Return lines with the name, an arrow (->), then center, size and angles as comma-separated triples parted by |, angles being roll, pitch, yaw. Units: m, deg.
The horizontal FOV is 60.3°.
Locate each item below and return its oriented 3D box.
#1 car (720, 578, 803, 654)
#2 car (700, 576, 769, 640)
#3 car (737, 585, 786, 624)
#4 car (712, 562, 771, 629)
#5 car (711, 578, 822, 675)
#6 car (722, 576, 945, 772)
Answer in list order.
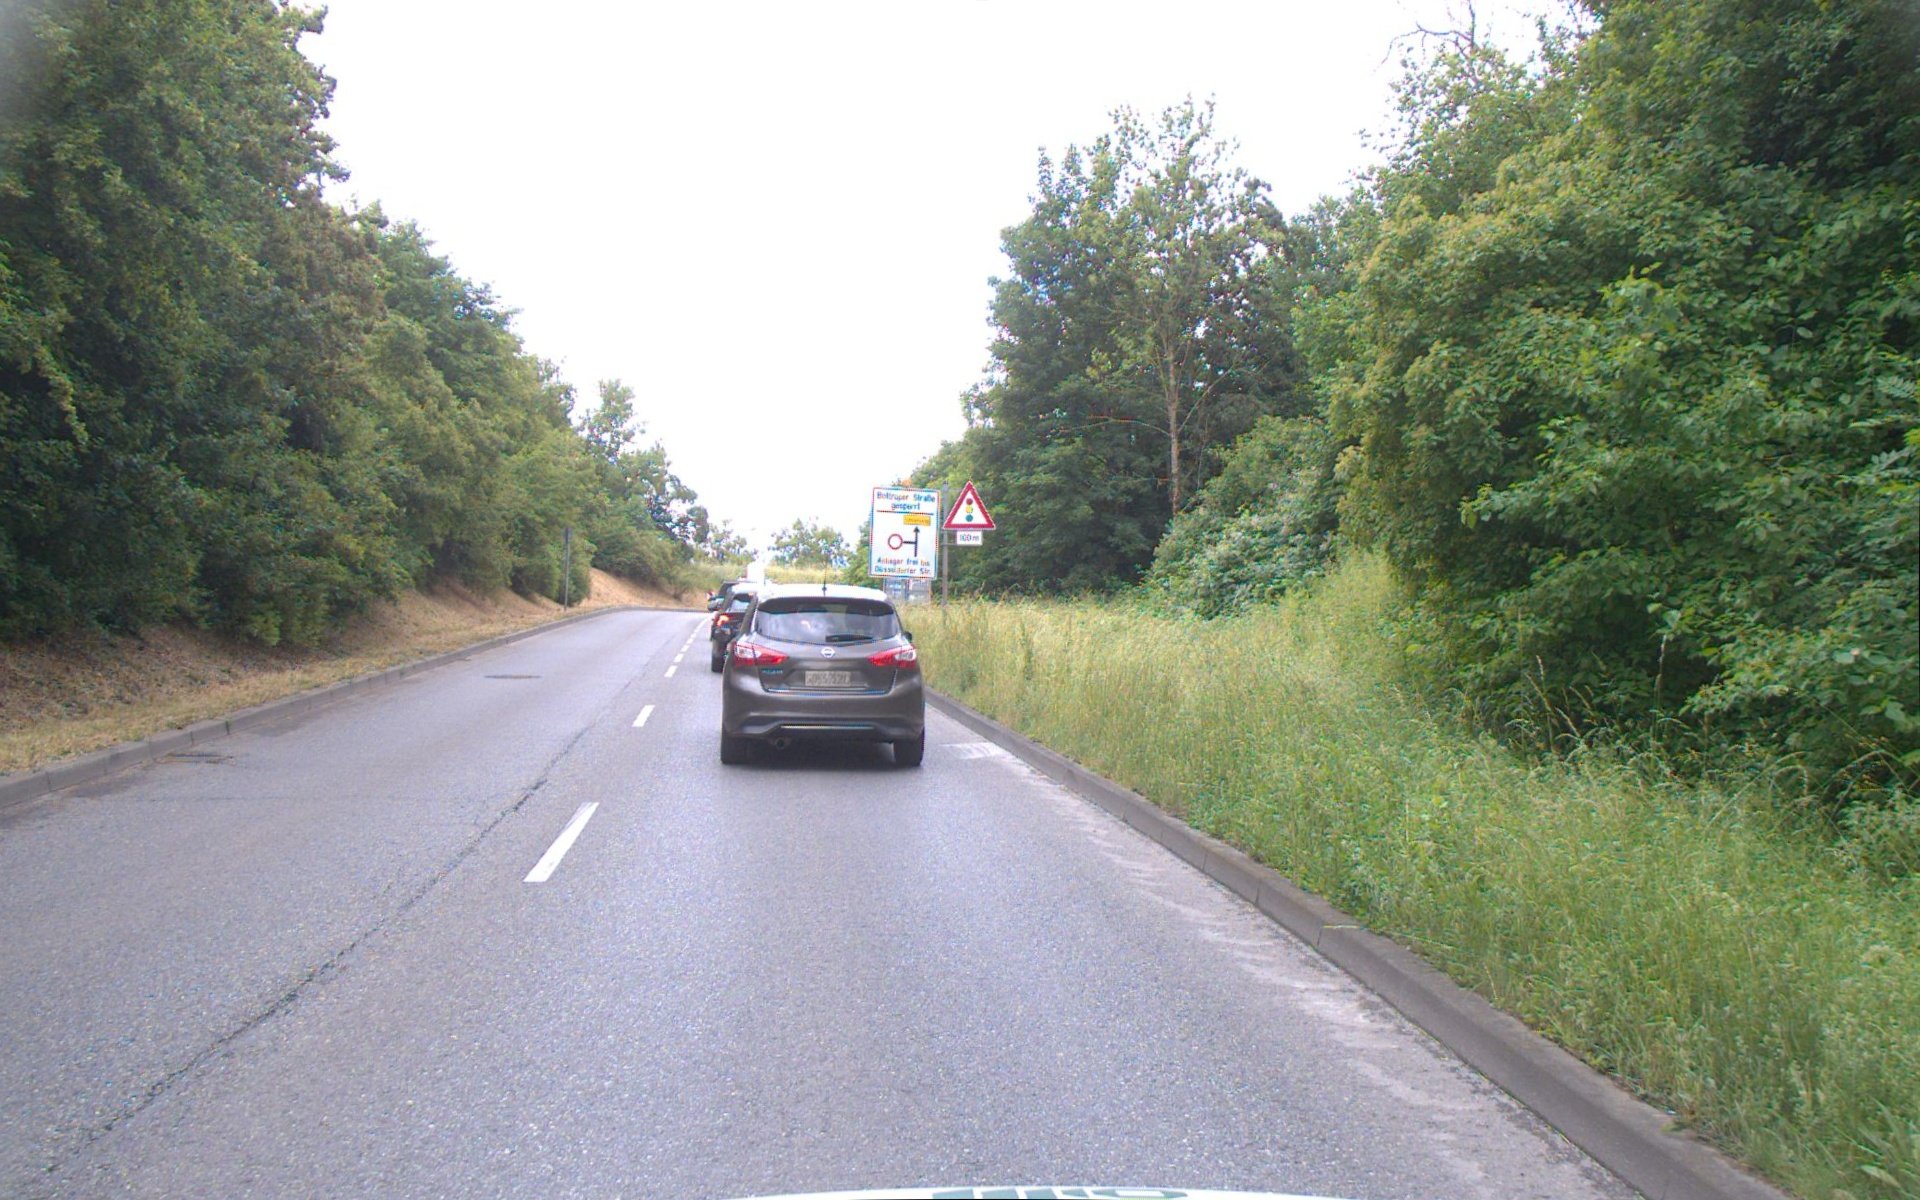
car -> -4.350, 0.312, 36.211 | 1.703, 1.583, 3.538 | 0, 1, -7
car -> -5.870, 0.181, 43.297 | 1.703, 1.583, 3.538 | 0, 1, -7
car -> -8.335, 0.171, 69.618 | 1.701, 1.553, 3.641 | 0, 1, -1
car -> -6.687, -0.140, 50.678 | 1.703, 1.968, 3.538 | 0, 1, -7
car -> -3.381, 0.414, 28.858 | 1.795, 1.583, 3.619 | 0, 1, -7
car -> -1.247, 0.590, 15.201 | 1.796, 1.583, 3.493 | 1, 0, -8
